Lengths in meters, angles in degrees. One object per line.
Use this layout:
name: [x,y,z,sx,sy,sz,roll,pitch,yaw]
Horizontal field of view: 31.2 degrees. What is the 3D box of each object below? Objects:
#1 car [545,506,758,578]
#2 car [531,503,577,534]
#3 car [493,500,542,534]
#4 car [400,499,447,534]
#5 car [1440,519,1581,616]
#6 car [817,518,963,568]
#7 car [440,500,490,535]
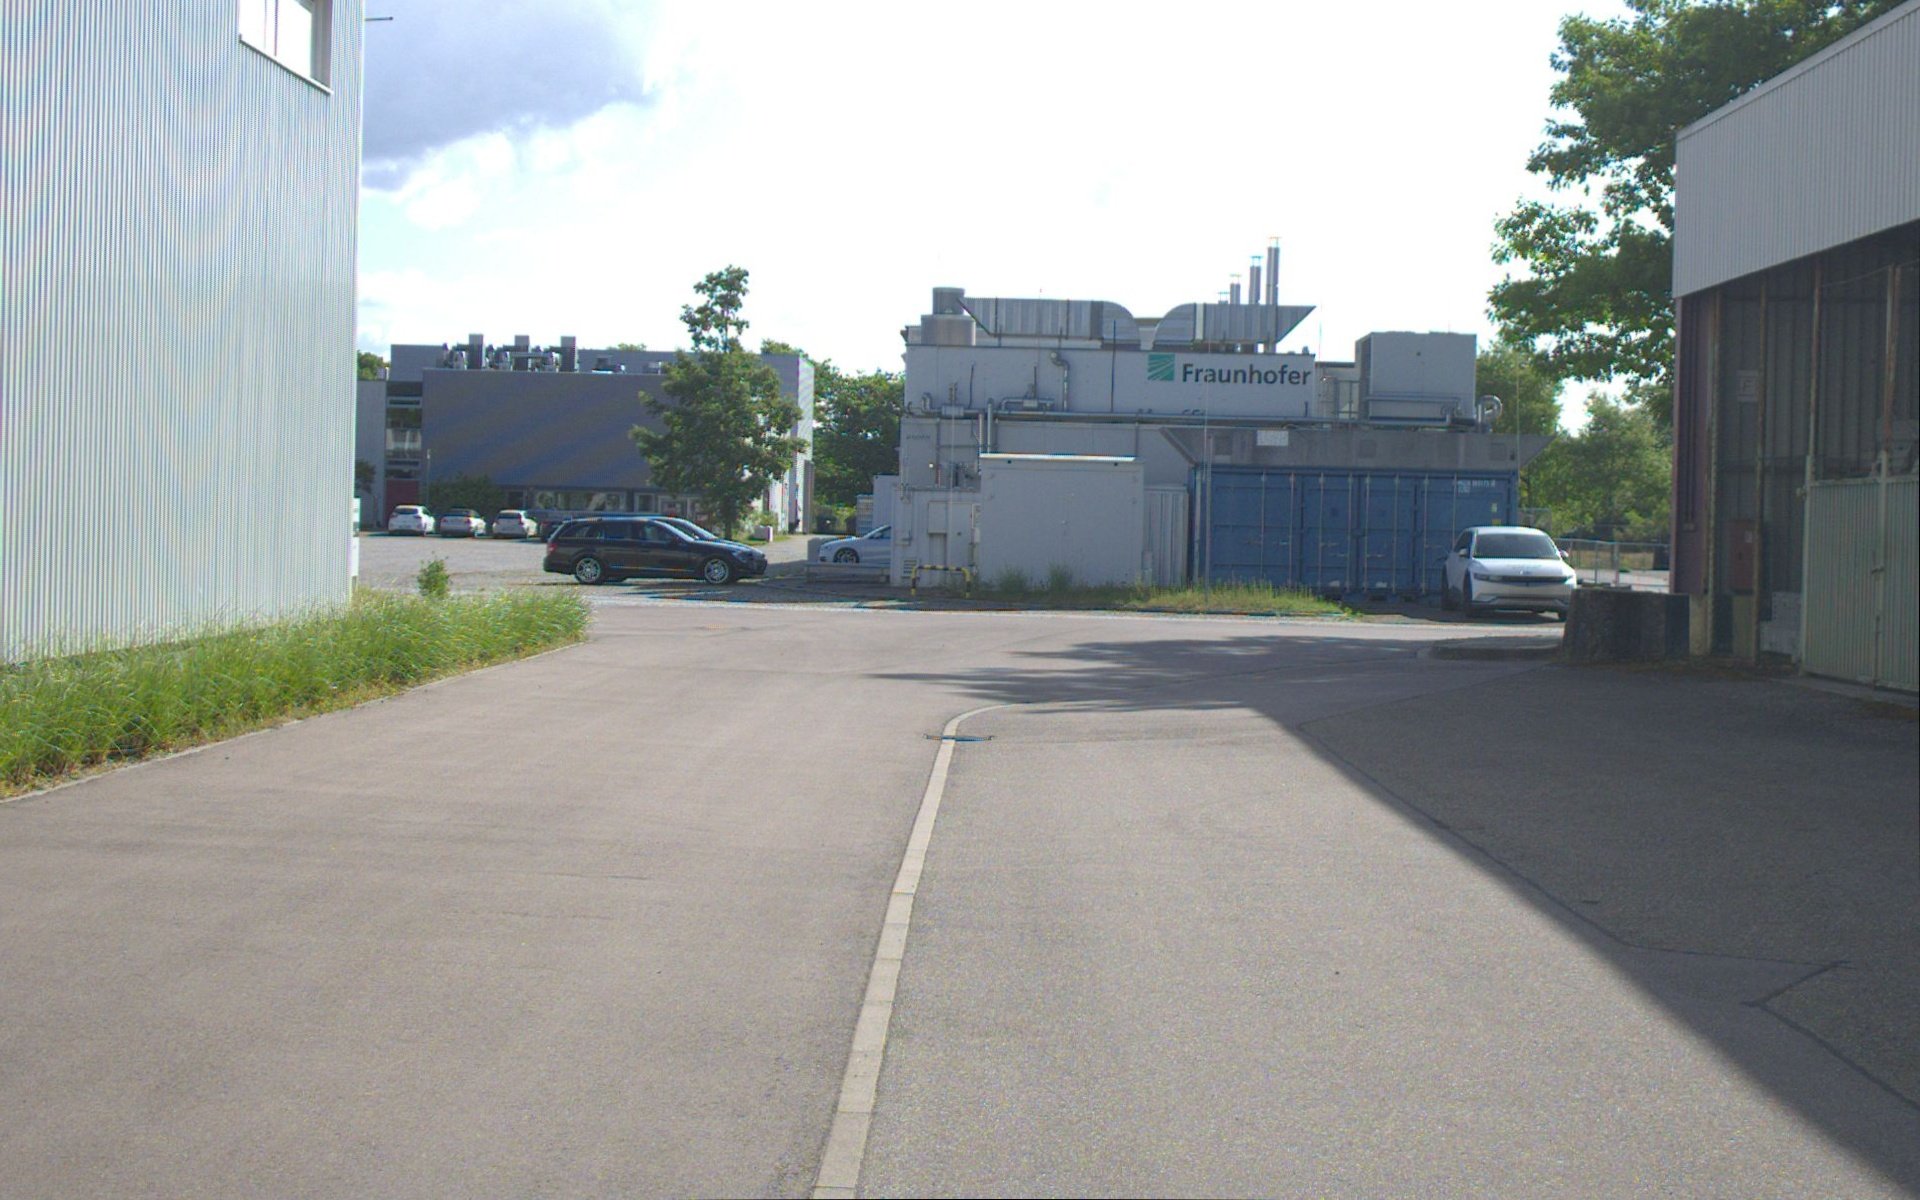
car: [-6.661,-1.258,74.599,4.447,1.525,1.824,0,1,1]
car: [-20.077,-4.008,170.217,1.858,1.489,4.030,0,1,-1]
car: [-22.125,-4.143,172.094,1.965,1.706,4.030,0,1,-1]
car: [-26.844,-4.165,172.154,1.798,1.706,4.048,0,1,-1]
car: [9.847,-0.613,61.794,1.979,1.597,4.377,0,2,2]
car: [-2.071,-1.697,102.400,4.302,1.452,1.824,0,1,1]
car: [-24.724,-4.116,171.722,1.977,1.672,4.000,0,1,-1]
